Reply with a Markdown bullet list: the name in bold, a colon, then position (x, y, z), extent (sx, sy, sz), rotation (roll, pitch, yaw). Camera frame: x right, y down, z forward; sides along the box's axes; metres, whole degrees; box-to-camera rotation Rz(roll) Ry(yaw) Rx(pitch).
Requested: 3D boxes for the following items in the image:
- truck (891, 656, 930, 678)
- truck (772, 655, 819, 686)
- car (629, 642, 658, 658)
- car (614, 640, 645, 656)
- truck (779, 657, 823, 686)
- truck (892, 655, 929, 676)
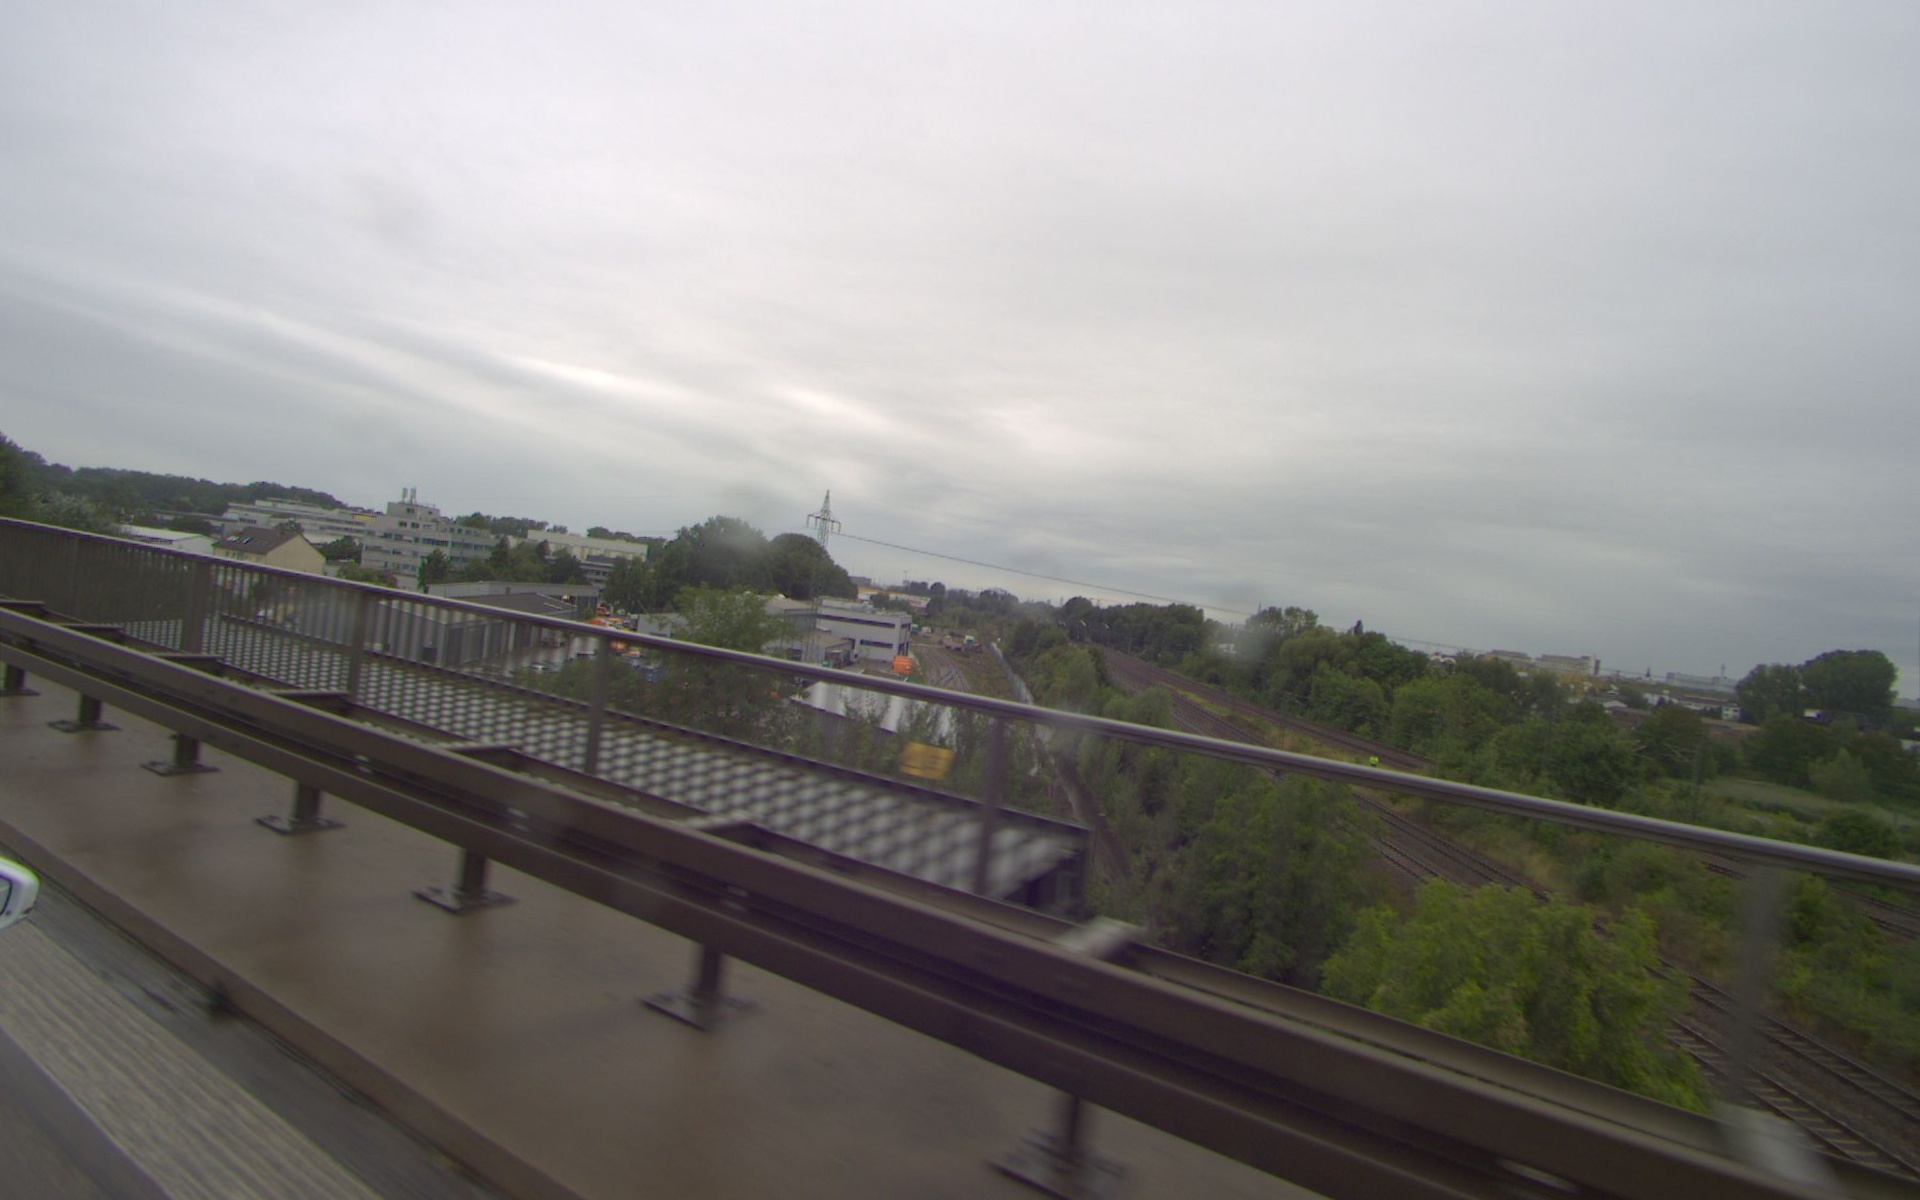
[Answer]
- **truck**: position (-9.070, 12.298, 185.129), extent (6.488, 3.221, 2.099), rotation (8, -1, -15)
- **truck**: position (-25.056, 10.758, 153.250), extent (6.469, 3.854, 2.105), rotation (7, -1, -2)
- **car**: position (-51.471, 8.198, 163.765), extent (3.929, 2.037, 2.000), rotation (8, -2, -4)
- **car**: position (-51.285, 7.431, 156.147), extent (3.929, 2.037, 2.000), rotation (8, -2, -4)
- **truck**: position (-25.817, 11.610, 163.930), extent (6.469, 3.854, 2.105), rotation (7, -1, -2)
- **truck**: position (-9.584, 12.633, 194.819), extent (6.488, 3.221, 2.099), rotation (8, -1, -15)
